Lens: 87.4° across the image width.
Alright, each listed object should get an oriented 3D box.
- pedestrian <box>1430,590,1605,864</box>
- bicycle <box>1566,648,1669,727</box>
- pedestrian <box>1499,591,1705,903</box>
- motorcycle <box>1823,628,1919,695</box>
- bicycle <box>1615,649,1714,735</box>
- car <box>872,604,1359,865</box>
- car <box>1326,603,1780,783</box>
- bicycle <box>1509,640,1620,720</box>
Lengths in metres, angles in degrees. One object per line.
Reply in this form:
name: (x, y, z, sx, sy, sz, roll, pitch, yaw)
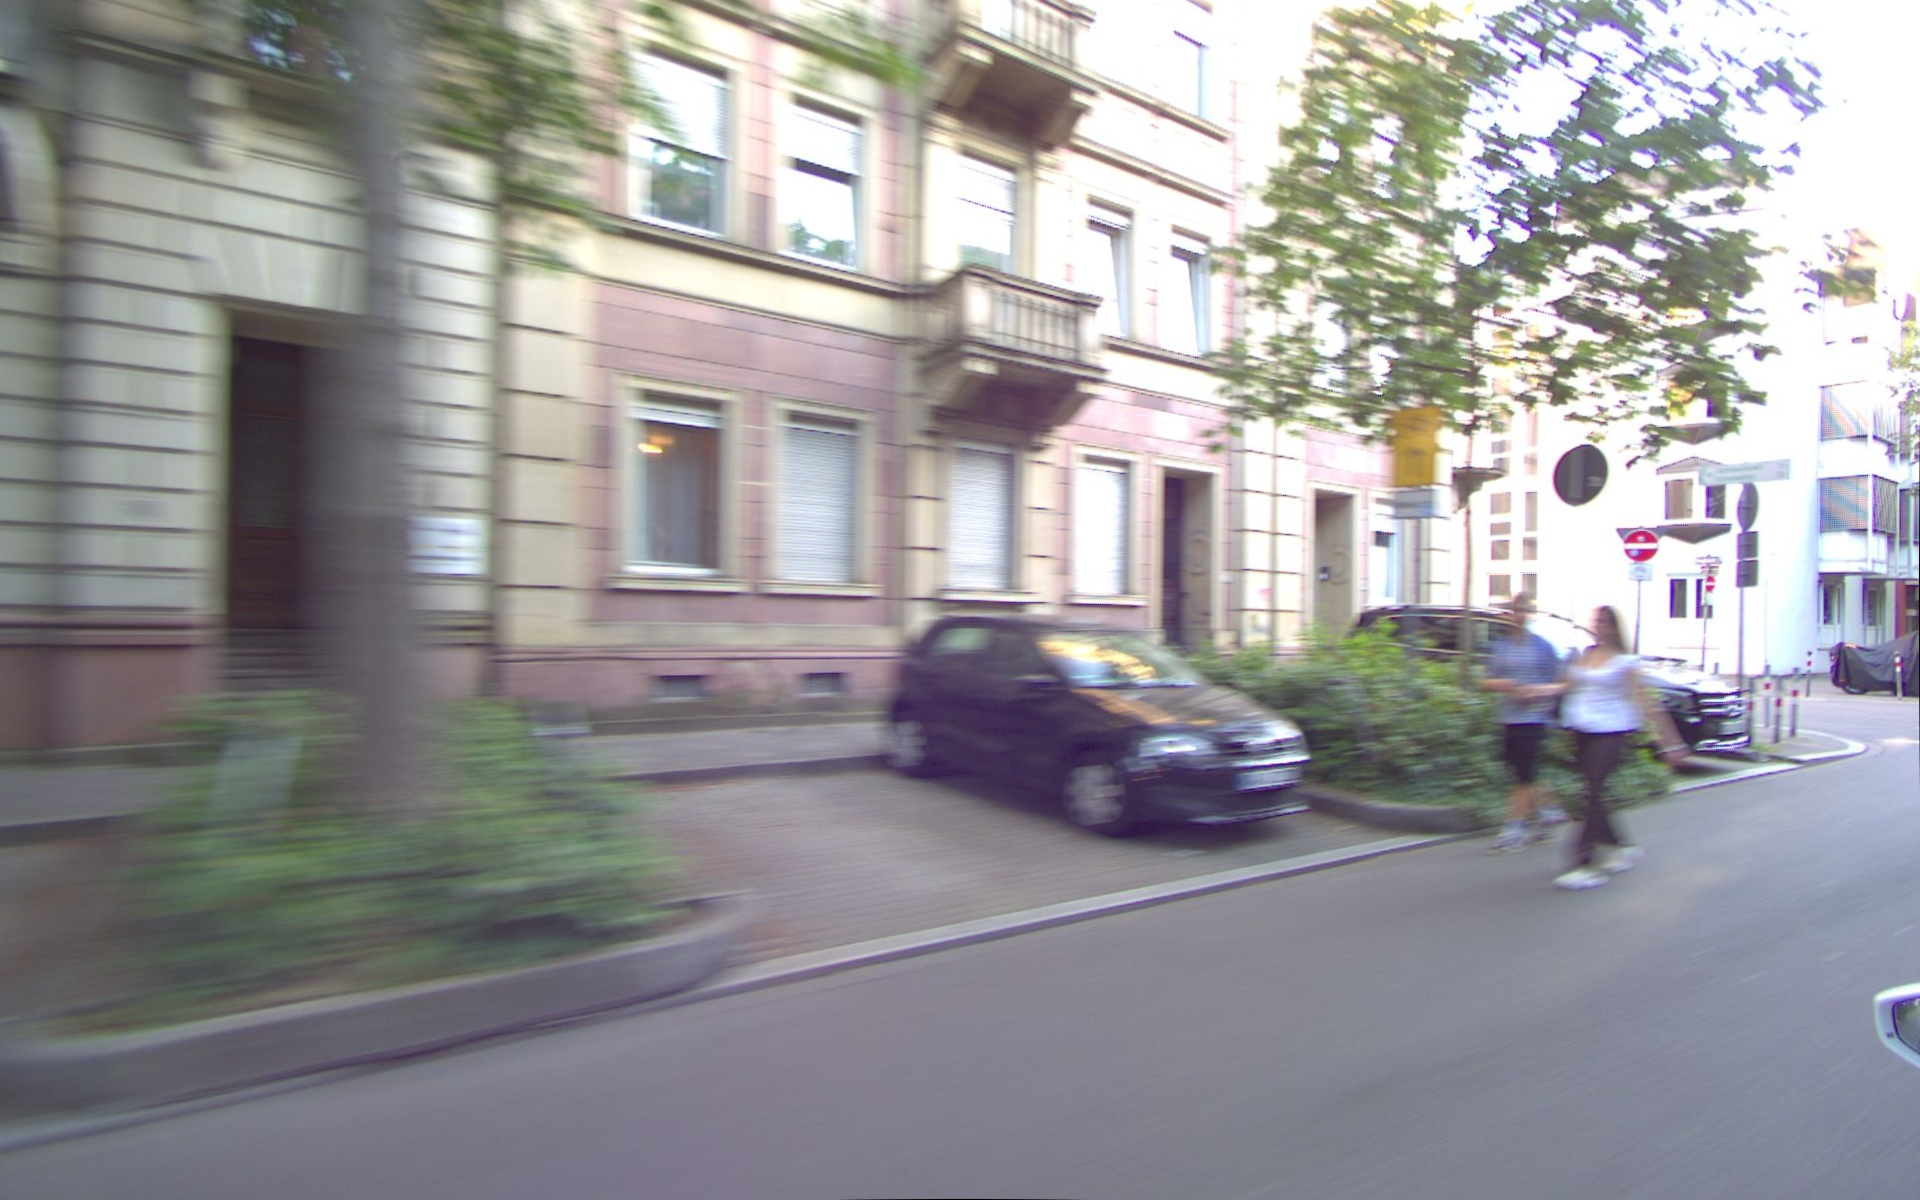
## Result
pedestrian: (3.890, 0.835, 7.027, 0.823, 1.760, 0.789, 1, -2, -35)
bicycle: (9.344, 1.238, 14.250, 1.843, 1.032, 0.519, 4, 1, -35)
pedestrian: (3.842, 0.816, 6.032, 0.823, 1.692, 0.789, 2, -2, -35)
motorcycle: (22.055, 1.455, 23.951, 2.181, 1.501, 0.856, 1, 0, 38)
bicycle: (9.668, 1.244, 13.758, 1.845, 1.073, 0.518, 4, 1, -37)
car: (1.011, 0.824, 8.074, 1.854, 1.478, 3.668, 1, 1, -35)
car: (6.931, 0.933, 12.255, 1.853, 1.673, 4.399, 1, 1, -33)
bicycle: (8.975, 1.184, 14.880, 1.843, 1.076, 0.664, 4, 1, -35)
